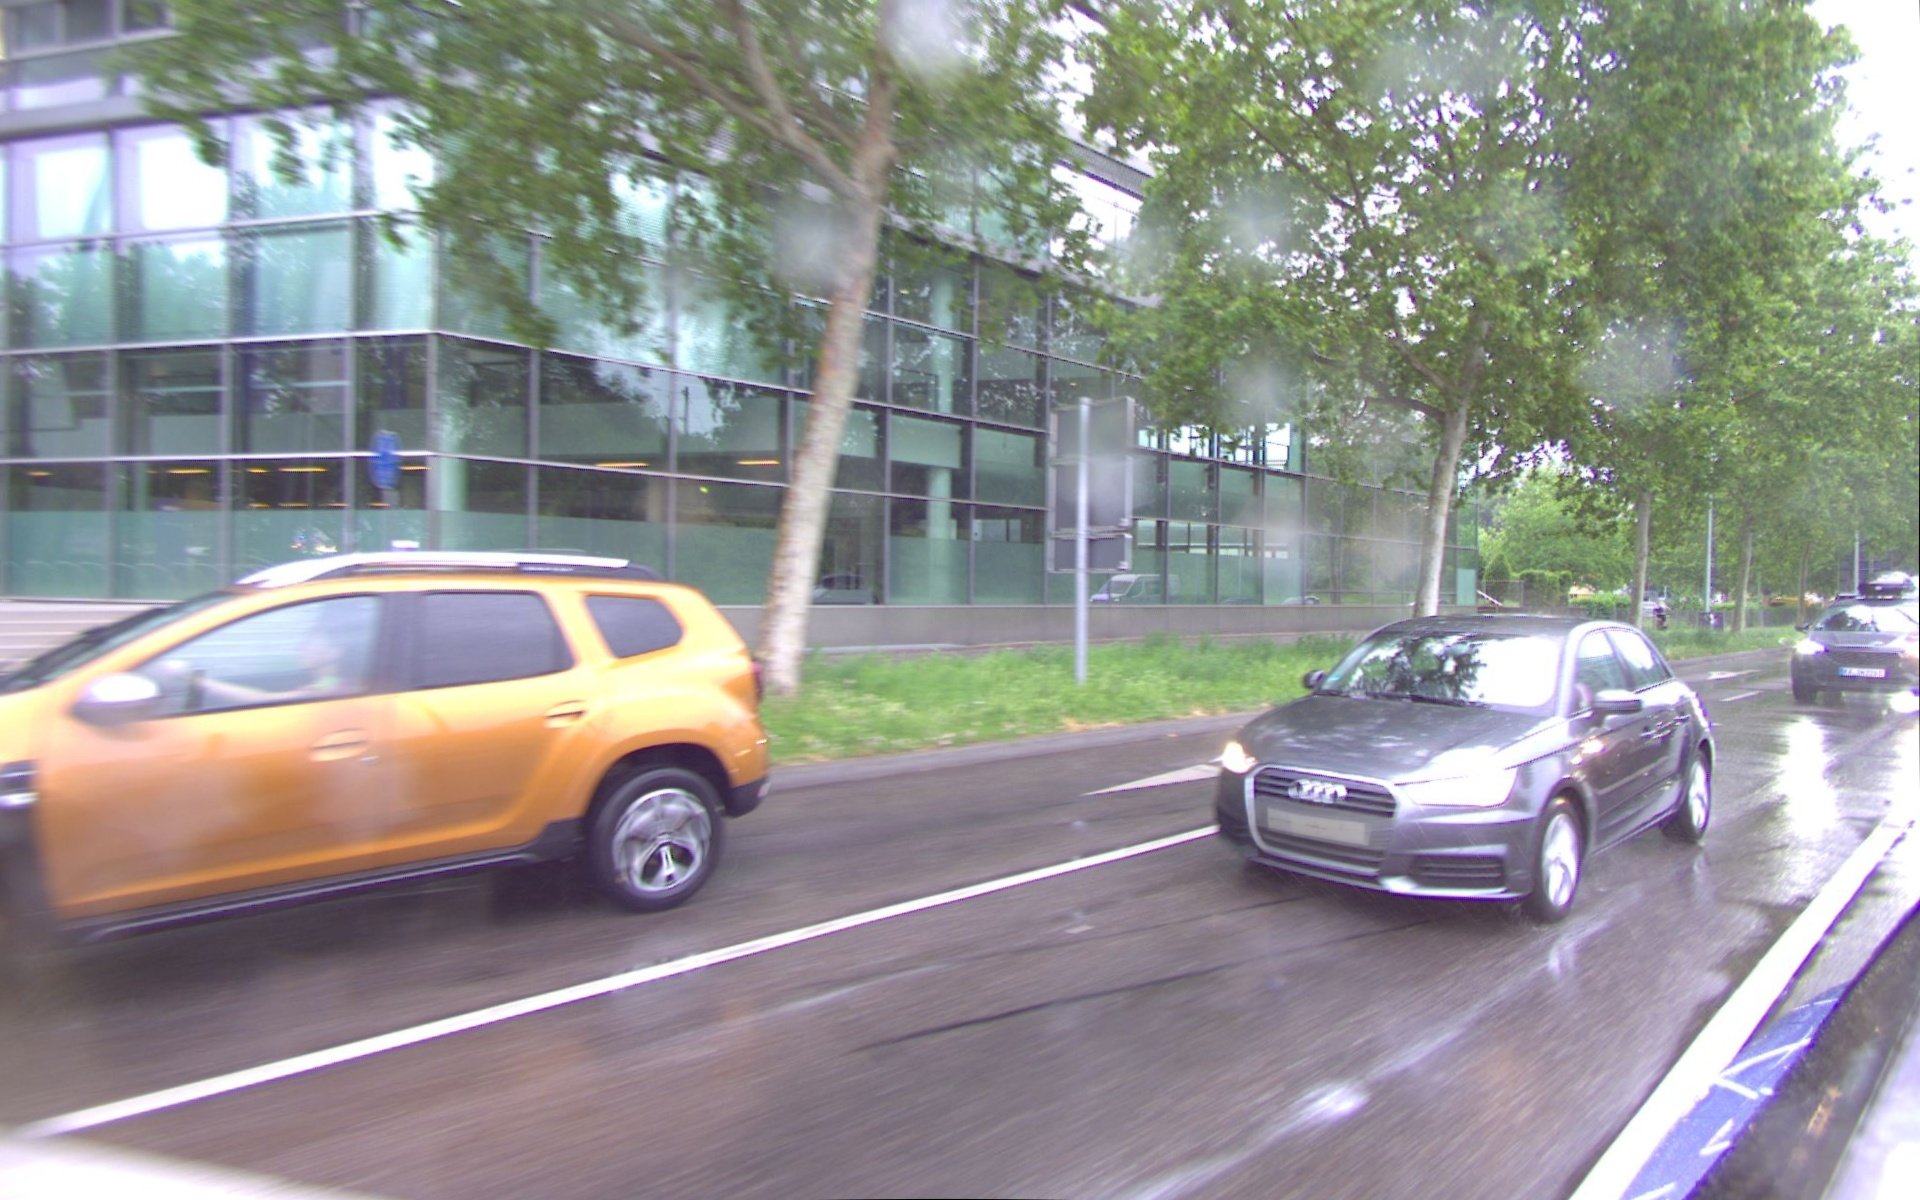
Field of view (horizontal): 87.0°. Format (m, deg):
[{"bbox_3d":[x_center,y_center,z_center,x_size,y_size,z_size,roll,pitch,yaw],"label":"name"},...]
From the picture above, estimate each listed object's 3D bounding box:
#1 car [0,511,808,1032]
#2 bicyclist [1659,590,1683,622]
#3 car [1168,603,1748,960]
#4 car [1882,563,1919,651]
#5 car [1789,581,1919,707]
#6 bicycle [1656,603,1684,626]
[{"bbox_3d":[-2.937,0.545,4.593,4.098,1.653,1.903,0,0,-42],"label":"car"},{"bbox_3d":[35.999,0.282,51.264,0.740,1.533,0.805,-1,4,-44],"label":"bicyclist"},{"bbox_3d":[3.093,0.732,5.979,3.689,1.416,1.838,0,0,-42],"label":"car"},{"bbox_3d":[28.833,0.199,29.810,4.892,2.461,1.997,0,1,-42],"label":"car"},{"bbox_3d":[14.954,0.625,16.175,4.253,1.770,1.997,0,1,-42],"label":"car"},{"bbox_3d":[35.982,0.720,51.303,2.043,1.118,0.744,0,3,-44],"label":"bicycle"}]
